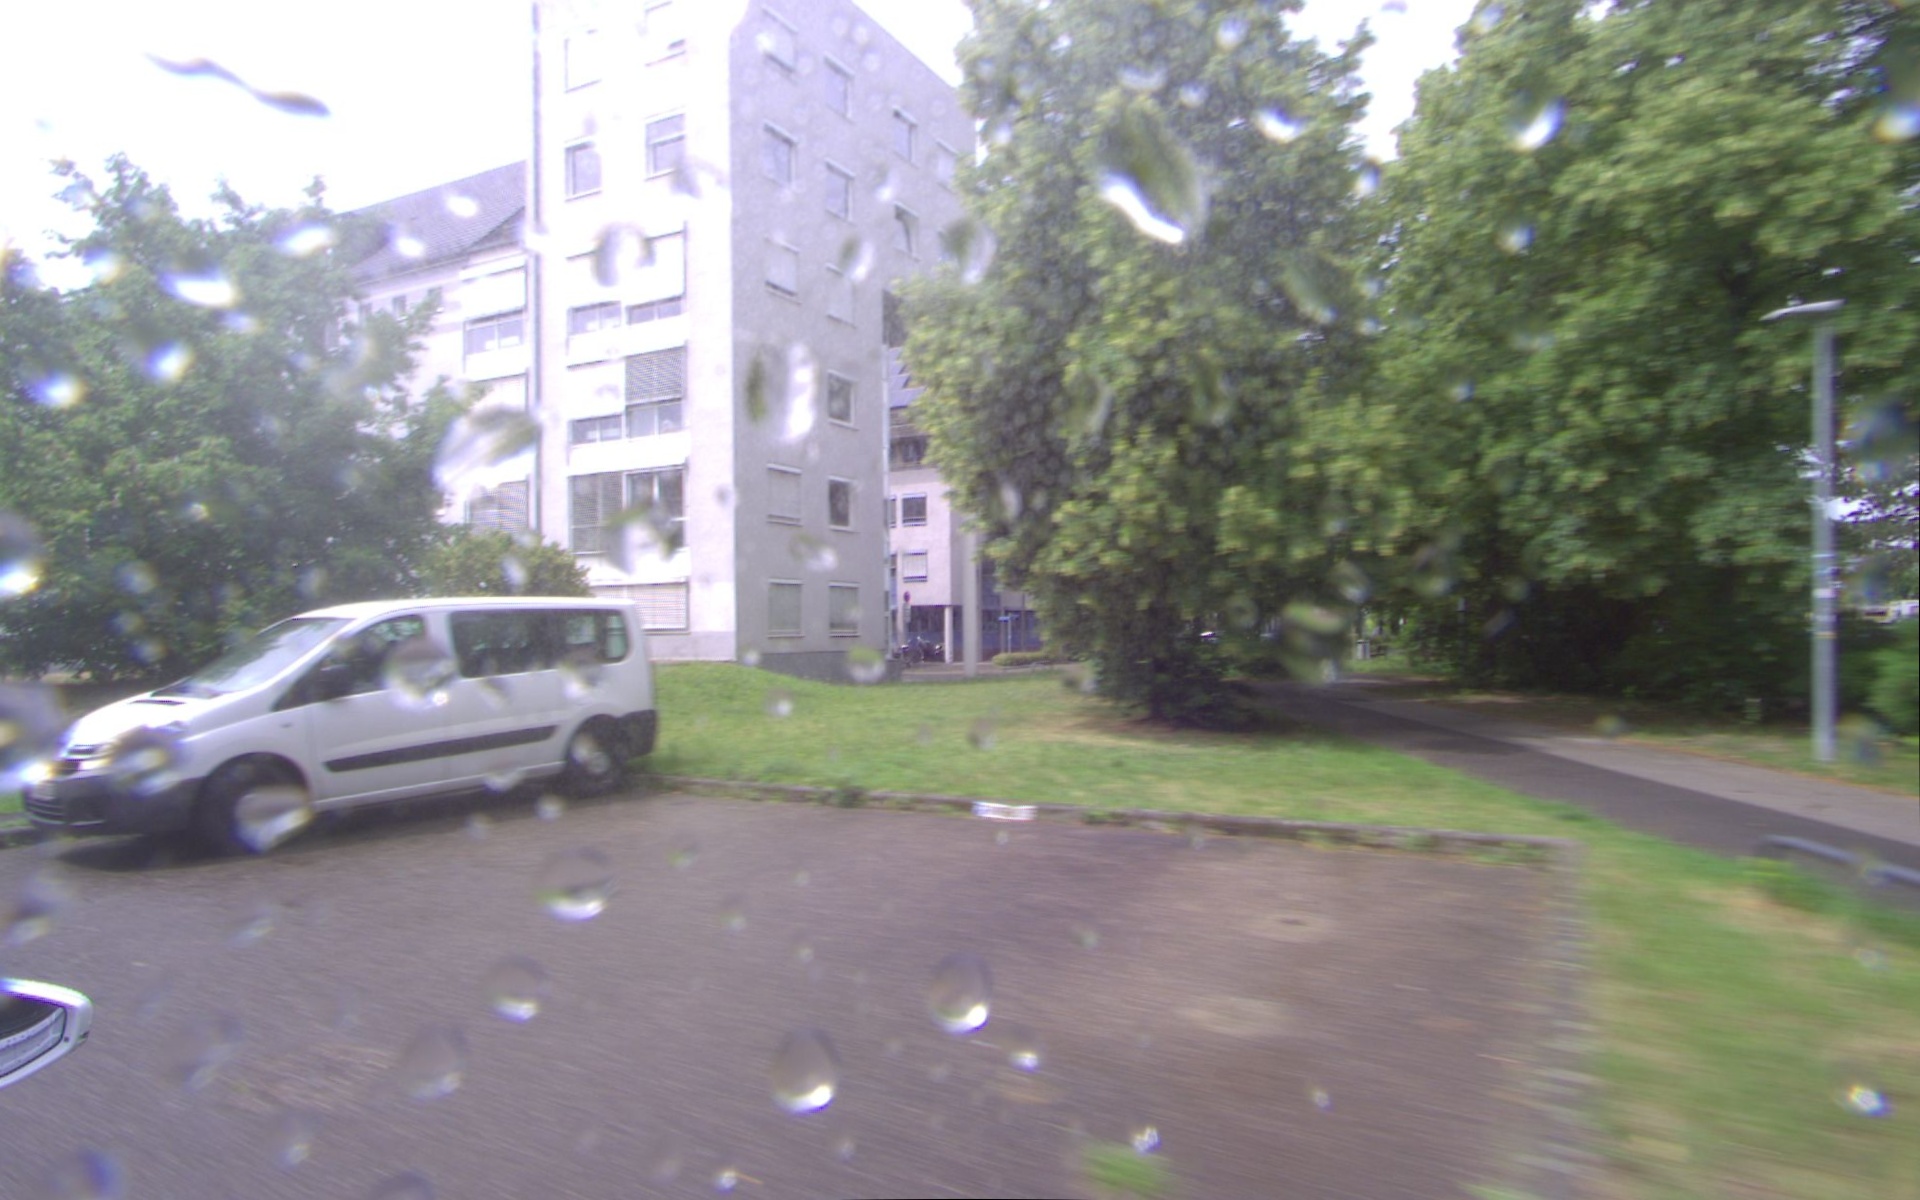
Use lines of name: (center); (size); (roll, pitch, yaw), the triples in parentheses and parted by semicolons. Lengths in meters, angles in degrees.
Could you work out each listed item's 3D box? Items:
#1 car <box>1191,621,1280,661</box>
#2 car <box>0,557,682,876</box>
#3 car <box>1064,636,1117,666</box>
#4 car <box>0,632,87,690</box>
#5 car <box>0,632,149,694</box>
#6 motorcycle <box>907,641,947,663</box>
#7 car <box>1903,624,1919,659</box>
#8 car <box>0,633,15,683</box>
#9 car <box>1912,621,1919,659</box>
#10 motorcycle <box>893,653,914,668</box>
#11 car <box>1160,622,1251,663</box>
car: (15.002, 2.219, 54.599); (4.316, 2.039, 1.991); (0, -2, 31)
car: (-5.107, 0.840, 9.020); (1.973, 2.039, 4.925); (-1, -2, 34)
car: (7.982, 3.117, 60.845); (1.759, 1.731, 3.966); (0, -3, 30)
car: (-25.804, 1.626, 26.249); (1.642, 1.476, 4.077); (-2, -1, 27)
car: (-23.000, 1.552, 24.938); (1.765, 1.372, 3.980); (-1, 0, 31)
motorcycle: (-1.792, 2.855, 54.754); (2.124, 1.158, 0.415); (1, -2, -4)
car: (45.975, 1.922, 45.868); (3.679, 1.620, 1.831); (-2, -3, 32)
car: (-30.224, 1.740, 28.796); (1.804, 1.474, 4.095); (-1, -1, 27)
car: (42.953, 1.671, 42.281); (3.679, 1.620, 1.831); (-2, -3, 32)
motorcycle: (-2.833, 3.036, 50.301); (0.325, 0.780, 1.439); (0, -2, 30)
car: (13.079, 2.247, 53.339); (4.316, 2.039, 1.991); (0, -2, 31)
